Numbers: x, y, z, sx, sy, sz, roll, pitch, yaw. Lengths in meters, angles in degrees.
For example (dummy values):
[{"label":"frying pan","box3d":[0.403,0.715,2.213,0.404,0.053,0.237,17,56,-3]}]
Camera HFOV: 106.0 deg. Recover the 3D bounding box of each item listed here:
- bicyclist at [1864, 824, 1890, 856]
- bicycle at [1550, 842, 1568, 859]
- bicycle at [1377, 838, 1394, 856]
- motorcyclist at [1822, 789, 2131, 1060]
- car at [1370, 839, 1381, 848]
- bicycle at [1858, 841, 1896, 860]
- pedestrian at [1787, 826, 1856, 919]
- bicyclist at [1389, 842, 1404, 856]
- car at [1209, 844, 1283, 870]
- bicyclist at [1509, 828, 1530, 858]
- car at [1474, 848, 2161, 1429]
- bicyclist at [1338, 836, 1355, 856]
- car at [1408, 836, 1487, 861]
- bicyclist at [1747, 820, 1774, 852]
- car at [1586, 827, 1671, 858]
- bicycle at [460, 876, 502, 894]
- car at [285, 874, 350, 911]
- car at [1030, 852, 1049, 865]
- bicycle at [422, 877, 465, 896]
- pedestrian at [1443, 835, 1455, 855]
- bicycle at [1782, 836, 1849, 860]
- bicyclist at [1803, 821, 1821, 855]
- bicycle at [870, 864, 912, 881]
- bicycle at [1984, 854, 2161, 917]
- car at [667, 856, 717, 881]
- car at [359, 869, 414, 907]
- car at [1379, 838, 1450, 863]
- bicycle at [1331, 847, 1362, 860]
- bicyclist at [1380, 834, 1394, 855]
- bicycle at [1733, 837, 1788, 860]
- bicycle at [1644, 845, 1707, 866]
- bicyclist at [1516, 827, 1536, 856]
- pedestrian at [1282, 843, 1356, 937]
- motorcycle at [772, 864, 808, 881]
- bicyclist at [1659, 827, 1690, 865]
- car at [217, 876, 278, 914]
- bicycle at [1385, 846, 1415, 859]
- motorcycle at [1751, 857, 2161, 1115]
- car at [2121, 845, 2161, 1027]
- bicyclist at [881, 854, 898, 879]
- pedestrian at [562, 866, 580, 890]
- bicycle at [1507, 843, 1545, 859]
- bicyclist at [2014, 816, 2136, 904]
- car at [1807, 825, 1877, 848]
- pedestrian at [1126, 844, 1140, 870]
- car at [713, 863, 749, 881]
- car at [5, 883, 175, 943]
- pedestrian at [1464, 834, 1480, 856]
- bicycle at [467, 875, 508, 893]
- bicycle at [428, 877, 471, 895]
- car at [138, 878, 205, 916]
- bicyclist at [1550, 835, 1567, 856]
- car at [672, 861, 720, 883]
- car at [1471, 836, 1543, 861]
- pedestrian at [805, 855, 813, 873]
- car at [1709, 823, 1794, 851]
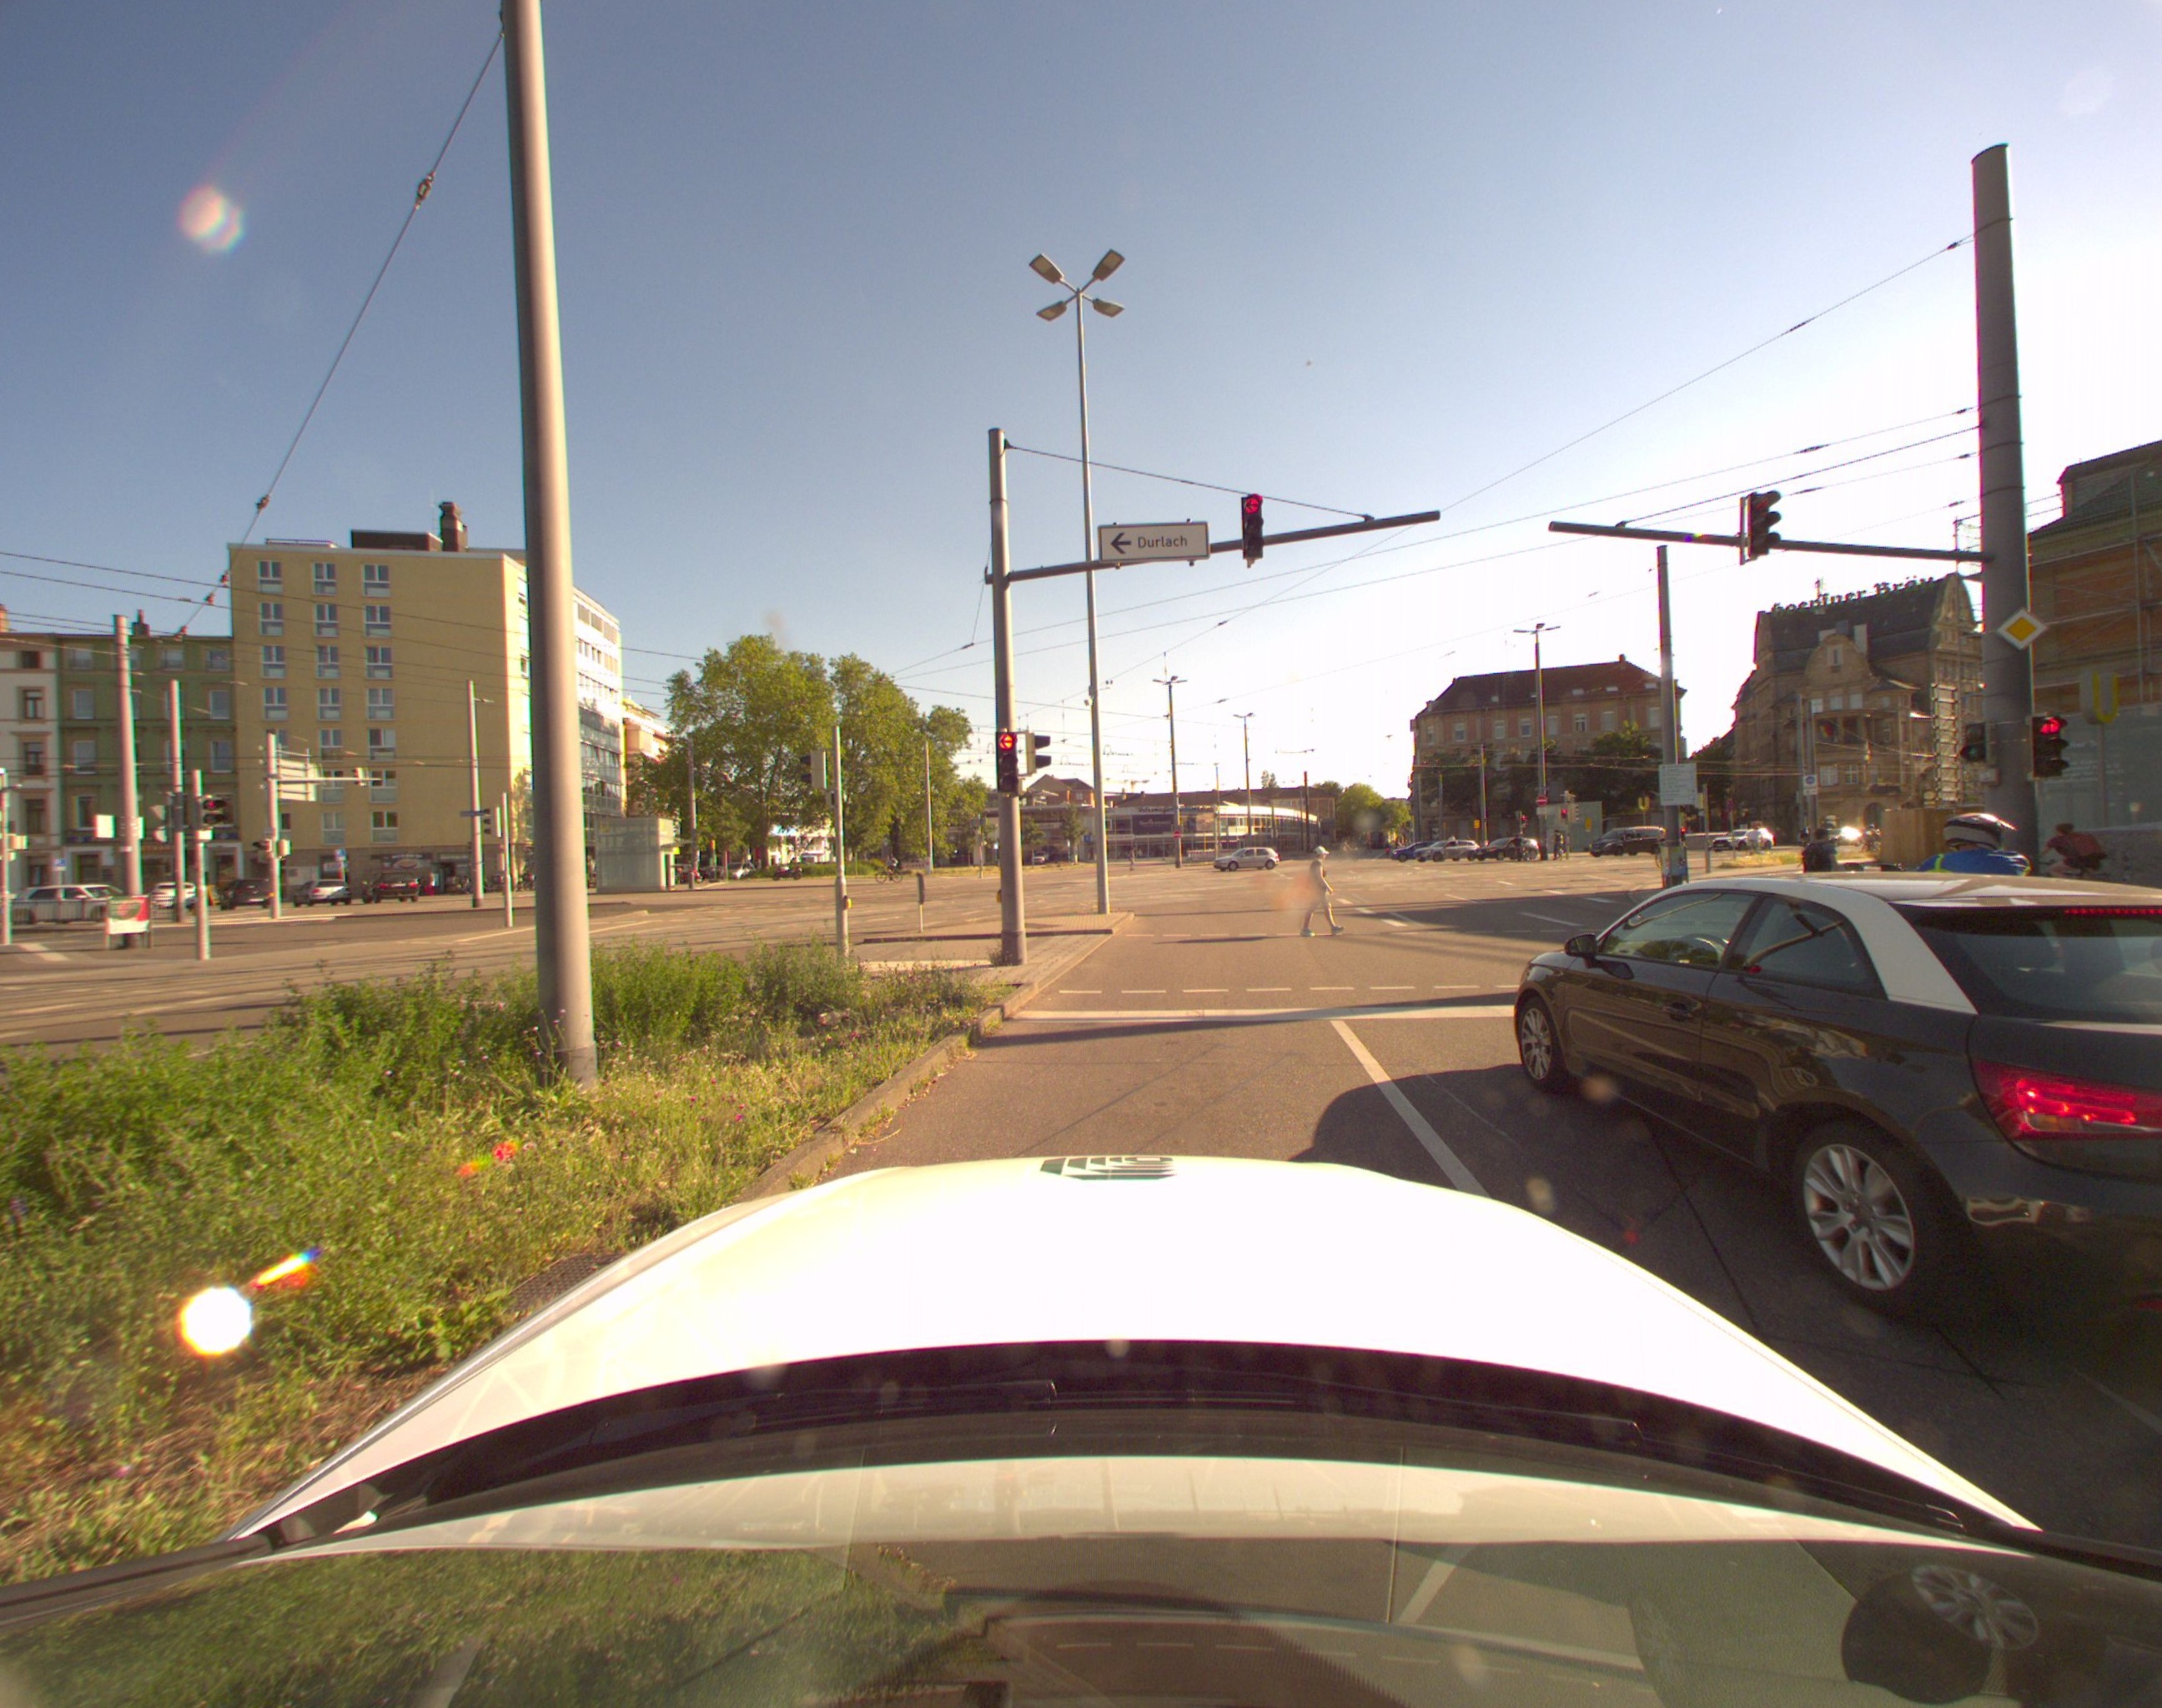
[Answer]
[{"label":"bicyclist","box3d":[42.787,-0.756,43.783,0.653,1.690,0.852,-2,2,-29]},{"label":"bicycle","box3d":[28.622,-0.209,48.789,0.849,0.905,2.318,0,2,27]},{"label":"bicycle","box3d":[28.851,-0.685,77.090,1.125,1.690,4.023,-2,0,24]},{"label":"motorcyclist","box3d":[6.181,0.457,5.715,1.089,1.721,0.939,-1,0,9]},{"label":"car","box3d":[55.772,-1.947,154.095,1.786,1.655,3.939,0,2,21]},{"label":"bicycle","box3d":[42.846,-0.207,43.819,2.310,0.905,0.852,-2,2,-29]},{"label":"pedestrian","box3d":[13.910,0.339,15.302,0.832,1.671,0.692,-3,-1,-31]},{"label":"bicyclist","box3d":[25.294,-0.397,65.248,0.715,1.142,0.832,-2,2,-21]},{"label":"car","box3d":[10.387,0.177,51.361,4.094,1.452,1.947,-2,0,-10]},{"label":"bicyclist","box3d":[26.185,-0.640,48.638,0.586,1.778,0.859,-2,0,-26]},{"label":"car","box3d":[3.521,0.701,3.944,1.791,1.444,3.987,0,0,8]},{"label":"bicyclist","box3d":[21.258,-0.653,65.235,0.925,1.559,0.856,-2,2,-15]},{"label":"car","box3d":[24.542,-0.355,54.628,4.544,1.517,1.947,-2,0,-10]},{"label":"bicyclist","box3d":[35.994,-0.949,43.149,0.649,1.690,0.857,-1,2,-10]},{"label":"car","box3d":[36.662,-0.734,54.584,4.841,1.893,1.945,-2,0,-14]},{"label":"bicycle","box3d":[-39.433,2.051,53.569,2.043,1.090,0.774,-2,0,-12]},{"label":"car","box3d":[-41.921,2.075,44.683,3.948,1.748,1.852,0,2,36]},{"label":"car","box3d":[-5.384,0.527,106.061,1.986,1.534,4.003,-1,2,2]},{"label":"bicycle","box3d":[-41.568,2.109,53.106,2.043,1.090,0.774,-2,0,-12]},{"label":"pedestrian","box3d":[30.195,-0.724,66.774,0.643,1.653,0.551,-2,0,-30]},{"label":"bicycle","box3d":[36.901,-0.299,40.948,2.470,1.133,0.865,1,3,44]},{"label":"bicyclist","box3d":[36.810,-0.805,41.024,0.643,1.690,0.865,0,2,44]},{"label":"bicycle","box3d":[-12.106,1.188,51.956,2.436,1.003,0.960,-2,0,-8]},{"label":"bicycle","box3d":[16.416,0.499,13.442,0.716,0.952,2.254,-1,-1,8]},{"label":"car","box3d":[-35.091,1.298,73.495,4.009,2.013,1.982,-2,0,-27]},{"label":"car","box3d":[-38.822,1.846,45.506,3.950,1.857,1.864,1,3,44]},{"label":"car","box3d":[23.948,-0.234,58.681,4.564,1.594,1.963,-2,0,18]},{"label":"bicycle","box3d":[21.267,-0.047,65.225,2.300,0.979,0.856,-2,2,-16]},{"label":"bicyclist","box3d":[28.975,-0.881,77.104,1.109,1.900,1.080,0,2,25]},{"label":"bicycle","box3d":[36.012,-0.320,43.164,2.493,1.133,0.857,-2,2,-11]},{"label":"bicycle","box3d":[26.627,0.055,36.481,2.496,0.874,0.856,-2,2,-14]},{"label":"bicyclist","box3d":[26.743,-0.761,48.917,0.653,1.690,0.852,-2,2,-28]},{"label":"pedestrian","box3d":[4.253,0.622,14.608,1.090,1.606,0.698,-1,2,-3]},{"label":"motorcycle","box3d":[-20.452,1.300,57.259,2.281,1.054,0.686,-1,2,-6]},{"label":"bicyclist","box3d":[26.582,-0.361,36.460,0.746,1.690,0.856,-2,2,-13]},{"label":"car","box3d":[-45.097,2.176,44.035,3.949,1.719,1.851,0,2,38]},{"label":"bicycle","box3d":[25.618,-0.127,65.387,2.305,0.959,0.854,-2,2,-22]},{"label":"motorcycle","box3d":[6.182,0.721,5.701,1.089,1.377,2.660,-1,0,9]},{"label":"car","box3d":[9.230,0.655,4.662,1.790,1.444,3.987,0,0,8]},{"label":"bicyclist","box3d":[-12.230,0.768,51.941,0.923,1.559,0.960,-2,0,-8]},{"label":"pedestrian","box3d":[-36.124,1.705,57.653,0.775,1.676,0.780,-2,0,-9]},{"label":"bicycle","box3d":[26.732,-0.190,48.923,2.309,0.905,0.852,-2,2,-28]},{"label":"bicyclist","box3d":[16.418,0.110,13.490,0.716,1.384,1.078,-1,-1,8]},{"label":"car","box3d":[57.066,-1.320,61.064,4.353,1.563,1.941,-2,2,-17]},{"label":"pedestrian","box3d":[3.791,0.207,59.516,0.984,1.816,0.922,-1,2,6]},{"label":"car","box3d":[-30.412,1.520,70.857,1.846,1.452,3.989,-1,0,-8]},{"label":"car","box3d":[-38.968,2.285,32.139,3.737,2.013,1.992,-2,2,-12]},{"label":"pedestrian","box3d":[31.004,-0.704,64.576,0.919,1.676,0.784,0,0,7]},{"label":"bicycle","box3d":[-39.643,2.027,54.388,2.043,1.090,0.774,-2,0,-12]},{"label":"bicycle","box3d":[-41.817,2.086,53.942,2.043,1.090,0.774,-2,0,-12]},{"label":"car","box3d":[-48.620,2.264,43.520,3.958,1.719,2.100,0,2,38]},{"label":"bicyclist","box3d":[28.609,-0.510,48.775,0.849,1.176,0.719,0,2,27]},{"label":"car","box3d":[-36.706,1.662,77.688,4.009,1.857,1.837,-2,2,-27]},{"label":"car","box3d":[27.160,-0.360,51.957,4.109,1.486,1.938,-2,0,-25]},{"label":"pedestrian","box3d":[-31.126,1.160,93.260,0.585,2.013,0.712,-2,0,7]},{"label":"car","box3d":[47.646,-1.222,57.917,4.834,1.799,1.947,-2,0,-9]}]
